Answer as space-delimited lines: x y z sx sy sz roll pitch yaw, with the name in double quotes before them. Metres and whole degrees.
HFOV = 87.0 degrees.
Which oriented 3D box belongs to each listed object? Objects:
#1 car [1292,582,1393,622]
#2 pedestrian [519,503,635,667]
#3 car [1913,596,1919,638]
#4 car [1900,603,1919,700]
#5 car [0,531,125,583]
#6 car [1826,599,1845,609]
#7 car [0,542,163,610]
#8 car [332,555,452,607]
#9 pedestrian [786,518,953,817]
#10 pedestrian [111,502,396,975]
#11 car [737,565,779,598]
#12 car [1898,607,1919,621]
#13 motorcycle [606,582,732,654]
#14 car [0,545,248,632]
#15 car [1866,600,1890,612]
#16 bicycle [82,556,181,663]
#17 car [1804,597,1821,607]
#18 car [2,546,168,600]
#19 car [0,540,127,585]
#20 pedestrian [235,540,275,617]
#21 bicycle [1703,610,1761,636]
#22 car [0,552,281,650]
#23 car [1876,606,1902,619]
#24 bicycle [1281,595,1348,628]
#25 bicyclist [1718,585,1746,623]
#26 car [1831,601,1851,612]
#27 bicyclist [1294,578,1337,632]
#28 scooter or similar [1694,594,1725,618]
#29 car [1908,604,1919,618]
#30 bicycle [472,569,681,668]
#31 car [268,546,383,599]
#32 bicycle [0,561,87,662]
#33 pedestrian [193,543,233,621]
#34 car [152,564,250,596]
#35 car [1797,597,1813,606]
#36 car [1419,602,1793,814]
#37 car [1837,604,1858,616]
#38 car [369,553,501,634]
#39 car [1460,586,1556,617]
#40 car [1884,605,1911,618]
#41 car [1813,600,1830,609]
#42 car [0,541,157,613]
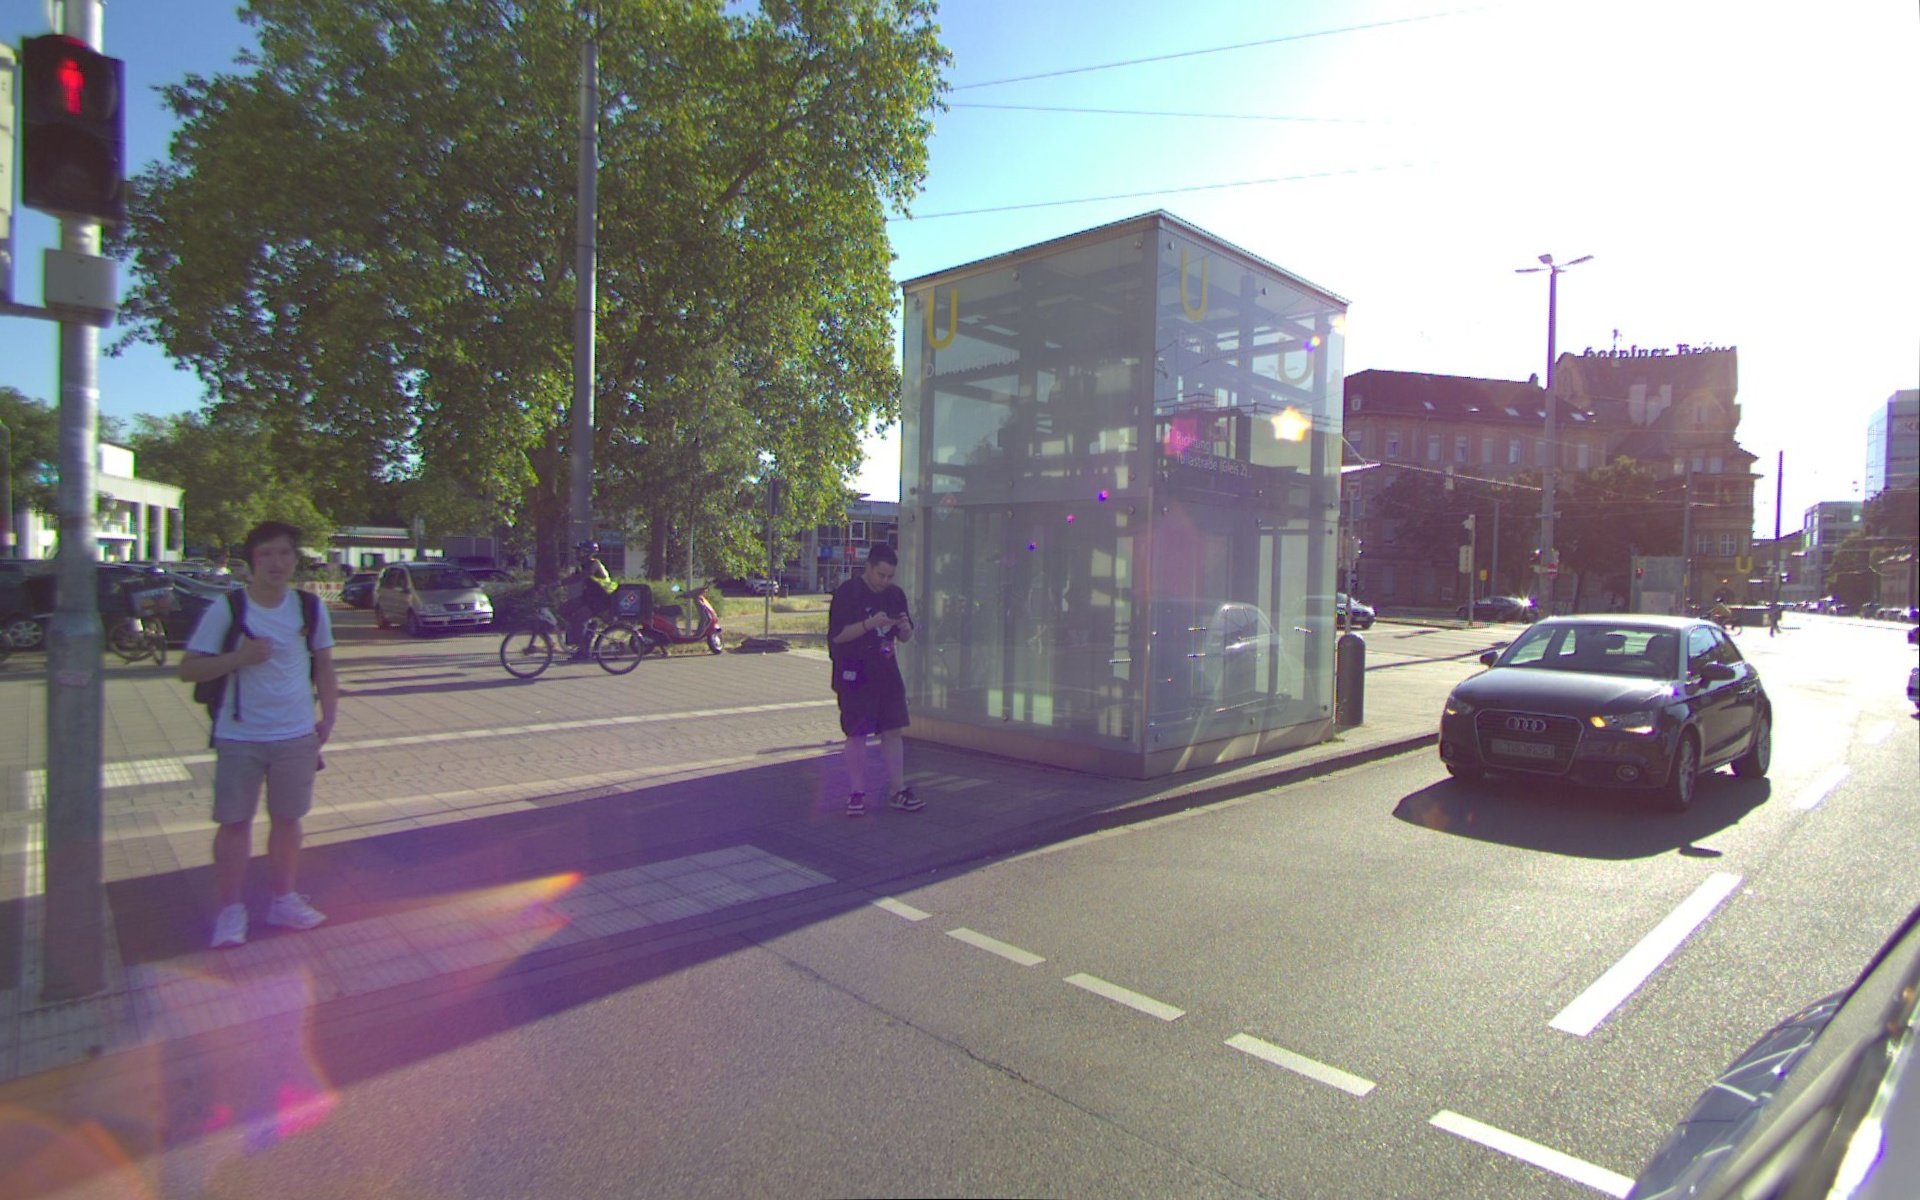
"car" 15.843 0.048 42.181 1.958 1.471 4.009 1 2 -14
"pedestrian" -5.146 -0.198 13.564 1.244 2.039 1.036 4 0 -26
"car" 36.011 0.686 35.048 1.720 1.481 4.028 -2 3 -23
"car" 16.373 0.840 14.910 4.363 1.405 1.831 2 1 -19
"car" -37.028 -1.770 41.675 3.931 1.802 1.853 4 0 -43
"car" 139.397 0.639 161.153 1.744 1.482 3.969 2 0 34
"car" -25.548 -0.692 29.108 3.931 1.655 1.853 4 0 -43
"car" -23.602 -0.770 42.131 1.852 1.891 3.934 4 0 45
"pedestrian" -0.554 0.380 6.475 0.784 1.749 0.866 2 1 15
"pedestrian" -2.937 0.496 4.234 0.692 1.749 0.745 2 1 31
"car" -13.963 -1.322 69.870 1.958 2.038 4.009 4 0 -22
"car" 108.839 1.565 115.689 1.744 1.482 3.969 2 0 34
"motorcycle" -4.720 0.259 16.503 0.879 1.059 1.775 4 4 44
"car" -16.722 -0.204 20.140 3.931 1.438 1.853 4 0 -43
"car" 121.287 0.779 133.771 1.744 1.482 3.969 2 0 34
"bicycle" -11.831 0.090 14.426 1.991 1.362 0.803 4 3 42
"car" 150.892 0.371 179.124 1.744 1.482 3.969 2 0 34
"car" -28.401 -0.862 32.935 3.931 1.438 1.853 4 0 -43
"car" -35.735 -1.477 40.214 3.931 1.438 1.853 4 0 -43
"pedestrian" -17.689 -0.538 25.387 0.740 1.889 0.831 1 1 -40
"bicycle" 36.509 1.084 47.878 2.097 1.040 0.757 4 2 40
"car" -14.918 0.041 18.172 1.851 1.501 4.160 4 0 43
"car" 115.947 1.518 126.326 1.744 1.482 3.969 2 0 34
"bicycle" 13.686 0.441 39.161 1.013 1.137 2.536 -1 2 -23
"bicyclist" 36.526 0.200 47.882 0.971 1.716 0.757 4 1 40
"car" 136.716 1.021 157.080 1.744 1.482 3.969 2 0 34
"bicyclist" 13.729 0.172 39.096 1.012 2.038 1.147 -1 2 -23
"scooter or similar" 40.771 0.309 55.073 0.718 1.215 1.443 3 1 8
"car" 106.090 1.261 111.454 1.744 1.482 3.969 2 0 34
"bicycle" -5.137 0.249 13.593 2.478 1.137 1.036 4 0 -26
"car" -28.191 -1.207 45.053 1.852 2.024 3.934 4 0 45
"bicycle" -12.553 0.116 13.753 1.991 1.215 0.803 4 3 42
"pedestrian" -18.423 -0.452 24.959 0.740 1.889 0.831 1 1 -40
"car" -41.483 -1.095 55.432 3.917 1.438 1.860 4 0 -26
"car" 156.844 0.317 187.898 1.744 1.482 3.969 2 0 34
"car" 5.641 0.742 8.669 3.764 1.406 1.693 1 0 -41
"car" 132.425 1.448 151.046 1.744 1.626 3.969 2 0 34
"car" -13.004 -0.243 24.971 1.890 1.718 3.993 -3 5 -43
"car" 29.933 0.040 55.442 1.779 1.511 4.665 2 1 -16
"car" 113.237 1.360 122.302 1.744 1.482 3.969 2 0 34
"car" 148.157 0.803 174.129 1.744 1.482 3.969 2 0 34
"car" -20.989 -0.551 23.153 3.931 1.438 1.853 4 0 -43
